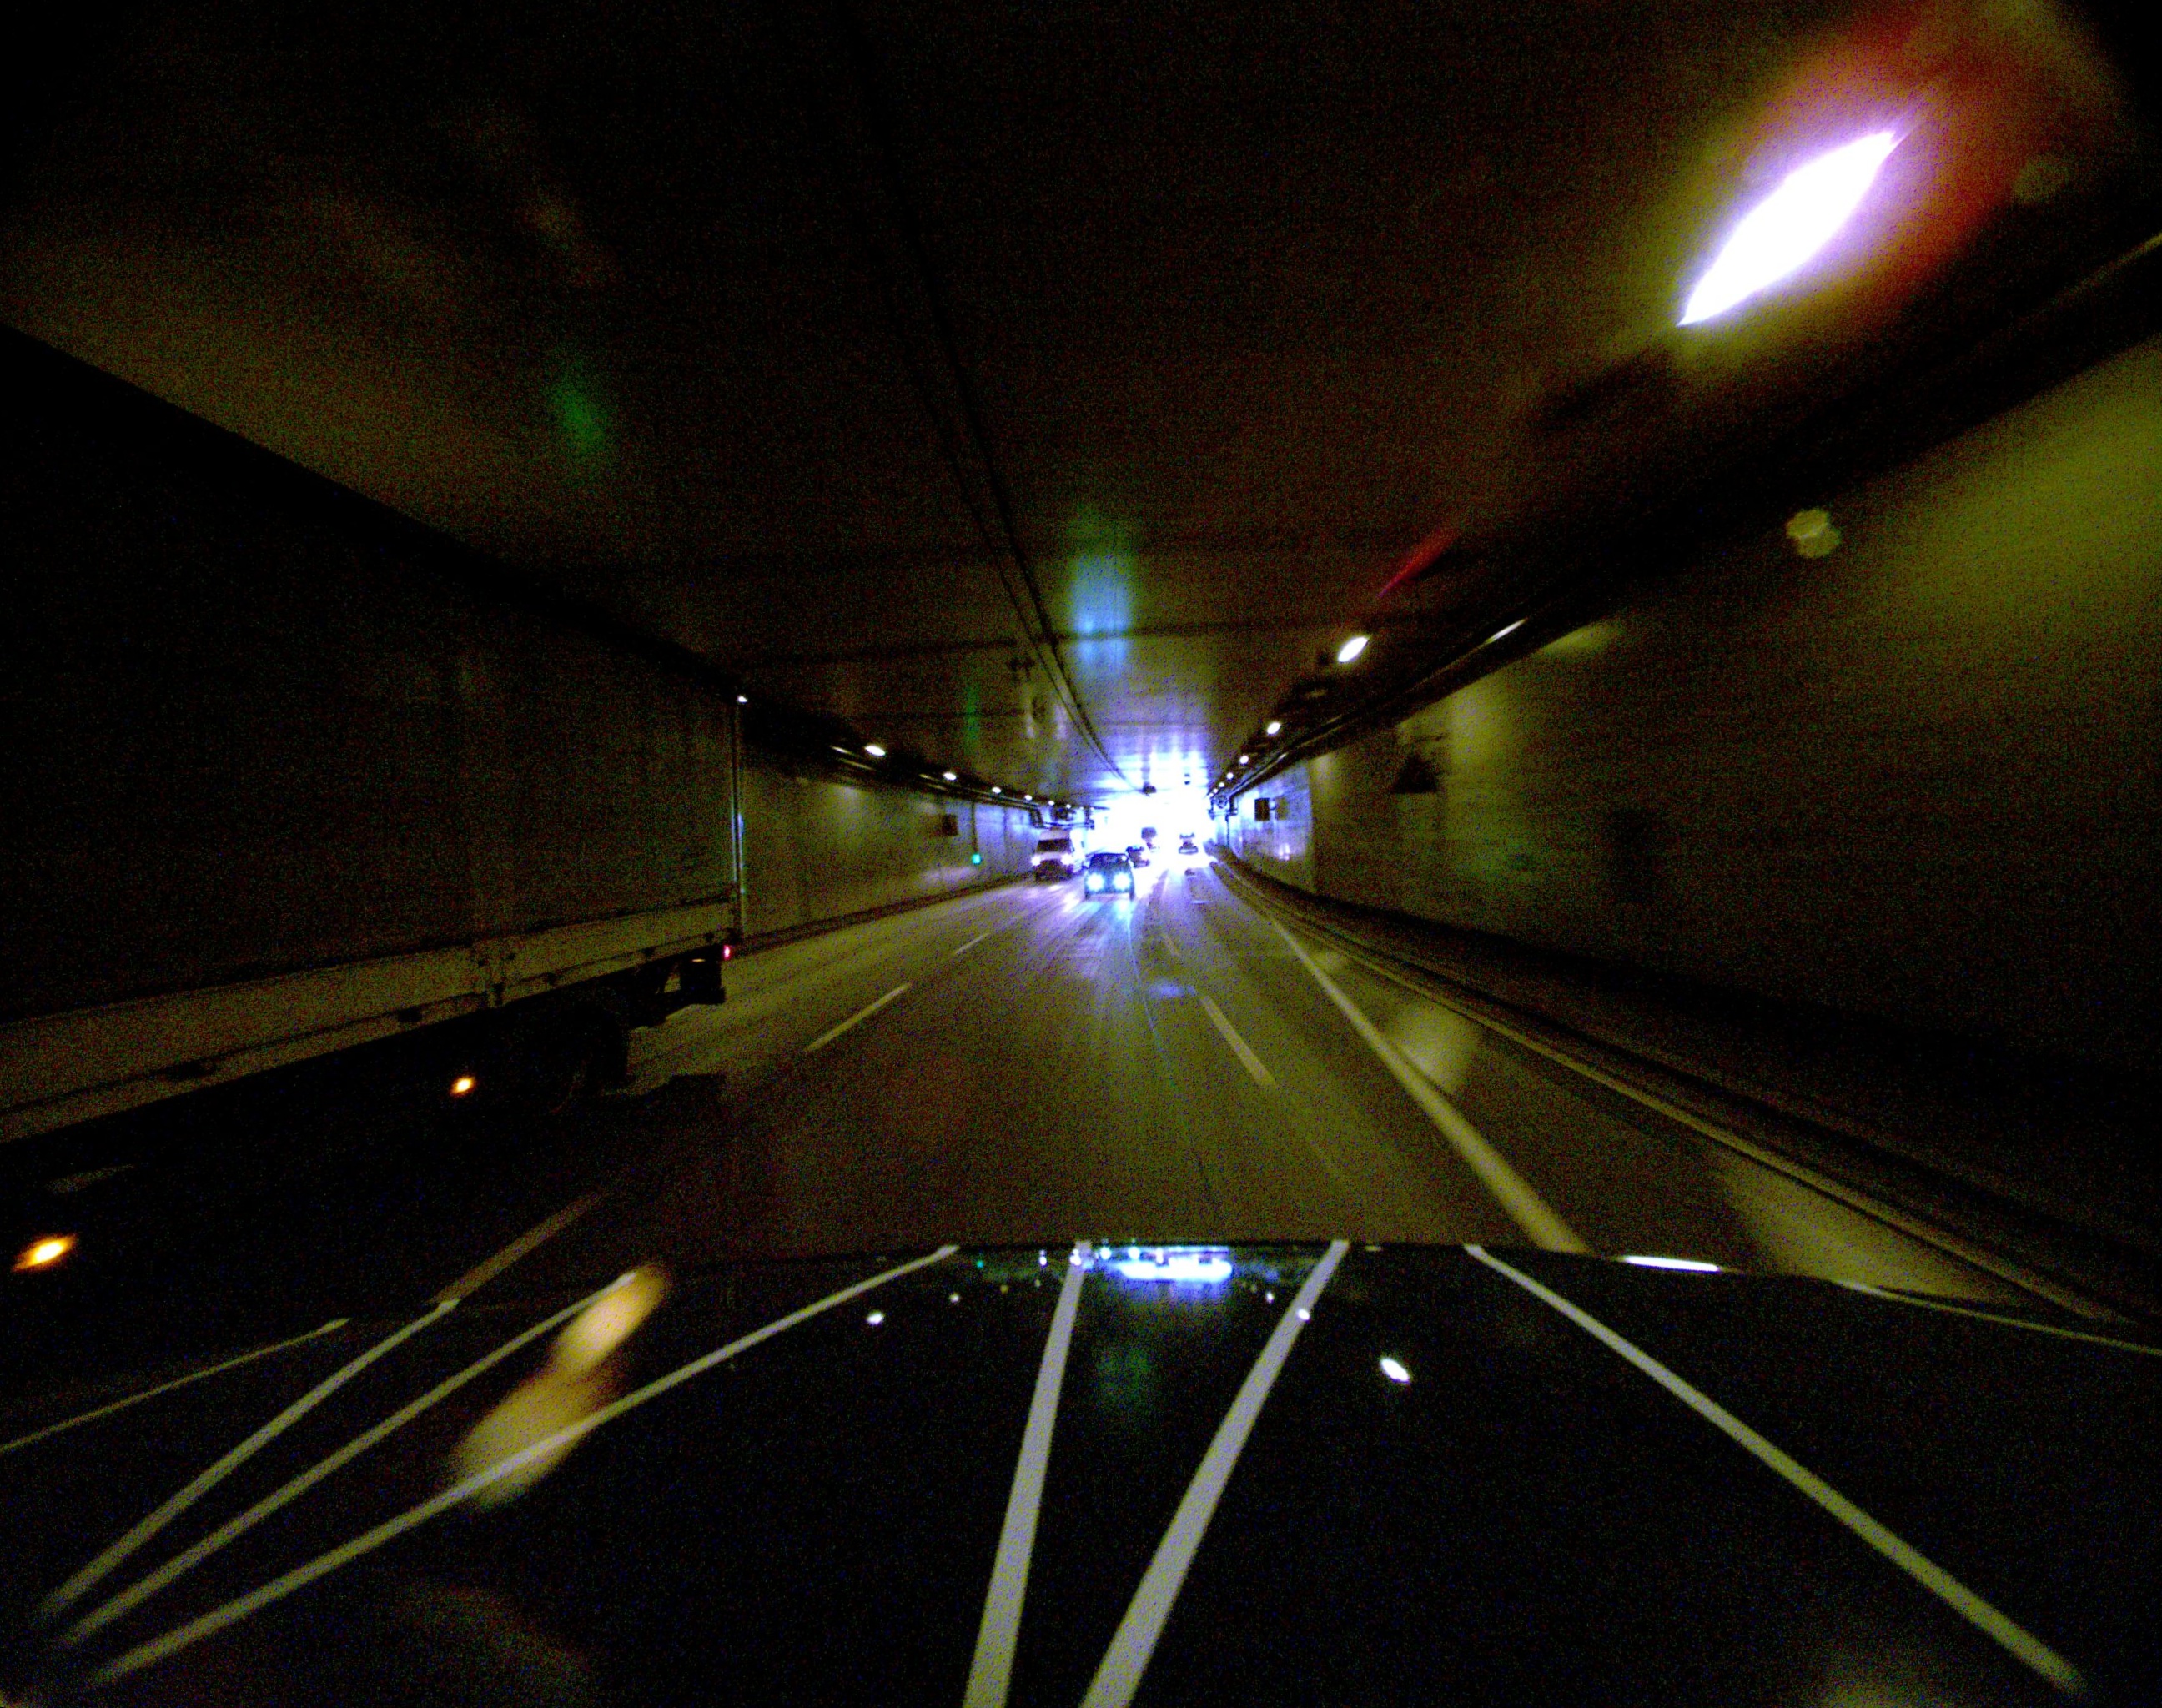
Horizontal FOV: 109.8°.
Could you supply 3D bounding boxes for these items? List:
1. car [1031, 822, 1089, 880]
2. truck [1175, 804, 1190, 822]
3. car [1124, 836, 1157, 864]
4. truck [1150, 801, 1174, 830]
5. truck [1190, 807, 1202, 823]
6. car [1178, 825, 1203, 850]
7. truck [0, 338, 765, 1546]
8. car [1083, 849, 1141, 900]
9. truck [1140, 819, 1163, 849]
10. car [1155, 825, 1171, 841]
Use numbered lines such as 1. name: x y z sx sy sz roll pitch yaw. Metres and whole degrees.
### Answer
1. car: -1.041 -0.228 42.082 2.105 2.831 6.862 -3 1 7
2. truck: 21.119 -8.501 158.135 2.492 3.371 6.376 -4 4 10
3. car: 4.025 -0.291 51.066 1.763 1.552 3.819 -4 3 9
4. truck: 14.071 -6.762 130.995 2.885 4.449 10.454 -4 4 12
5. truck: 22.979 -7.796 151.391 2.137 2.714 5.671 -4 4 10
6. car: 9.835 -1.521 68.119 1.934 1.919 4.197 -4 2 10
7. truck: -4.105 0.250 2.904 2.560 3.162 7.245 -2 0 1
8. car: 1.155 0.645 26.414 1.638 1.552 3.717 -3 1 7
9. truck: 6.990 -2.018 75.638 2.073 2.526 6.021 -5 4 5
10. car: 10.273 -2.645 94.736 1.638 1.662 3.716 -4 4 10
